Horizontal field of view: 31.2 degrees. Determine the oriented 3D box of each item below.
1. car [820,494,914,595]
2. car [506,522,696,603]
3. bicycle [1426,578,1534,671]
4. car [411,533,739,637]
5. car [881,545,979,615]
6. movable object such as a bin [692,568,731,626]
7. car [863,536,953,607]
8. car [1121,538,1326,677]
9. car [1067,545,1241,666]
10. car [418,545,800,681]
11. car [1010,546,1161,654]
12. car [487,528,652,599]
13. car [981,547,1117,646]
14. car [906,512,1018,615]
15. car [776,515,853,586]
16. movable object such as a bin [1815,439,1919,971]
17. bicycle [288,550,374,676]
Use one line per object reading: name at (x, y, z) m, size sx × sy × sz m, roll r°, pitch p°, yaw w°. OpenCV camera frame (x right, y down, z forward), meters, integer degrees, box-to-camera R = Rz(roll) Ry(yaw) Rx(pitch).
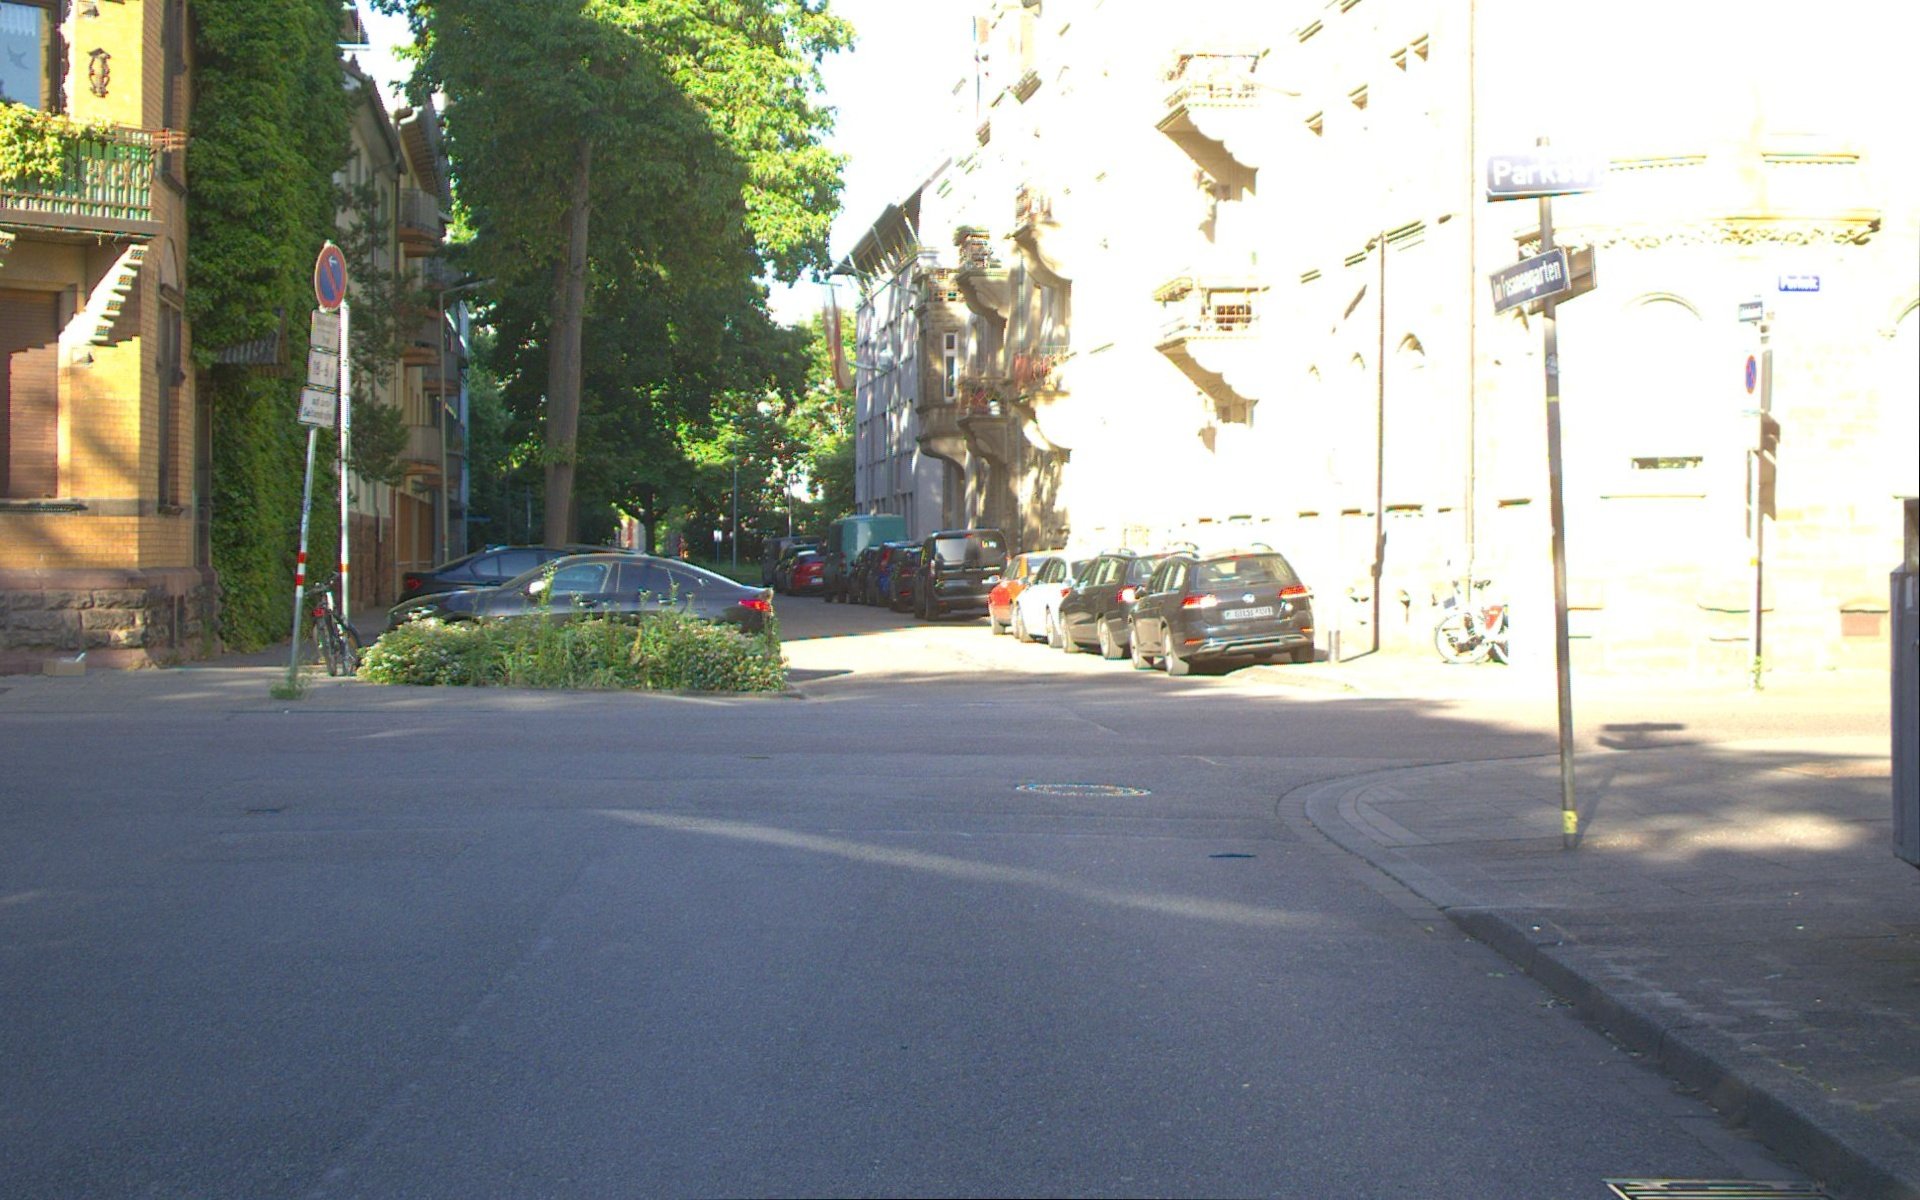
car at (-2.611, -1.538, 95.553) m, size 2.165 × 2.681 × 4.792 m, roll 1°, pitch 1°, yaw -6°
car at (-7.487, -0.785, 71.511) m, size 3.800 × 1.570 × 1.710 m, roll 1°, pitch 0°, yaw -10°
bicycle at (5.772, 0.265, 38.237) m, size 0.514 × 0.994 × 1.576 m, roll 1°, pitch 1°, yaw -18°
car at (-5.832, -0.227, 52.033) m, size 4.833 × 1.430 × 1.710 m, roll 1°, pitch 0°, yaw -8°
car at (-0.708, -0.468, 78.544) m, size 1.802 × 1.509 × 4.001 m, roll 1°, pitch 1°, yaw -6°
movable object such as a bin at (-4.597, -0.062, 63.502) m, size 0.629 × 1.049 × 0.568 m, roll 1°, pitch 0°, yaw -12°
car at (-1.312, -0.705, 85.278) m, size 1.802 × 1.673 × 4.001 m, roll 1°, pitch 1°, yaw -6°
car at (3.145, 0.064, 41.799) m, size 1.737 × 1.576 × 4.001 m, roll 1°, pitch 1°, yaw -6°
car at (2.651, 0.049, 47.782) m, size 1.737 × 1.576 × 4.001 m, roll 1°, pitch 1°, yaw -6°
car at (-4.075, 0.141, 39.730) m, size 4.242 × 1.430 × 2.000 m, roll 1°, pitch 0°, yaw -8°
car at (1.904, -0.024, 53.267) m, size 1.737 × 1.576 × 4.001 m, roll 1°, pitch 1°, yaw -6°
car at (-9.259, -0.866, 81.371) m, size 3.800 × 1.570 × 1.710 m, roll 1°, pitch 0°, yaw -8°
car at (1.459, -0.081, 57.934) m, size 1.737 × 1.576 × 4.001 m, roll 1°, pitch 1°, yaw -6°
car at (0.008, -0.755, 70.172) m, size 1.802 × 1.997 × 4.001 m, roll 1°, pitch 1°, yaw -6°
car at (-4.791, -1.607, 112.569) m, size 2.165 × 2.229 × 4.792 m, roll 1°, pitch 1°, yaw -6°
movable object such as a bin at (3.777, 0.338, 11.044) m, size 1.586 × 1.652 × 1.640 m, roll 1°, pitch 0°, yaw -1°
bicycle at (-6.472, 0.117, 35.411) m, size 0.563 × 1.264 × 1.603 m, roll 0°, pitch 1°, yaw 1°
